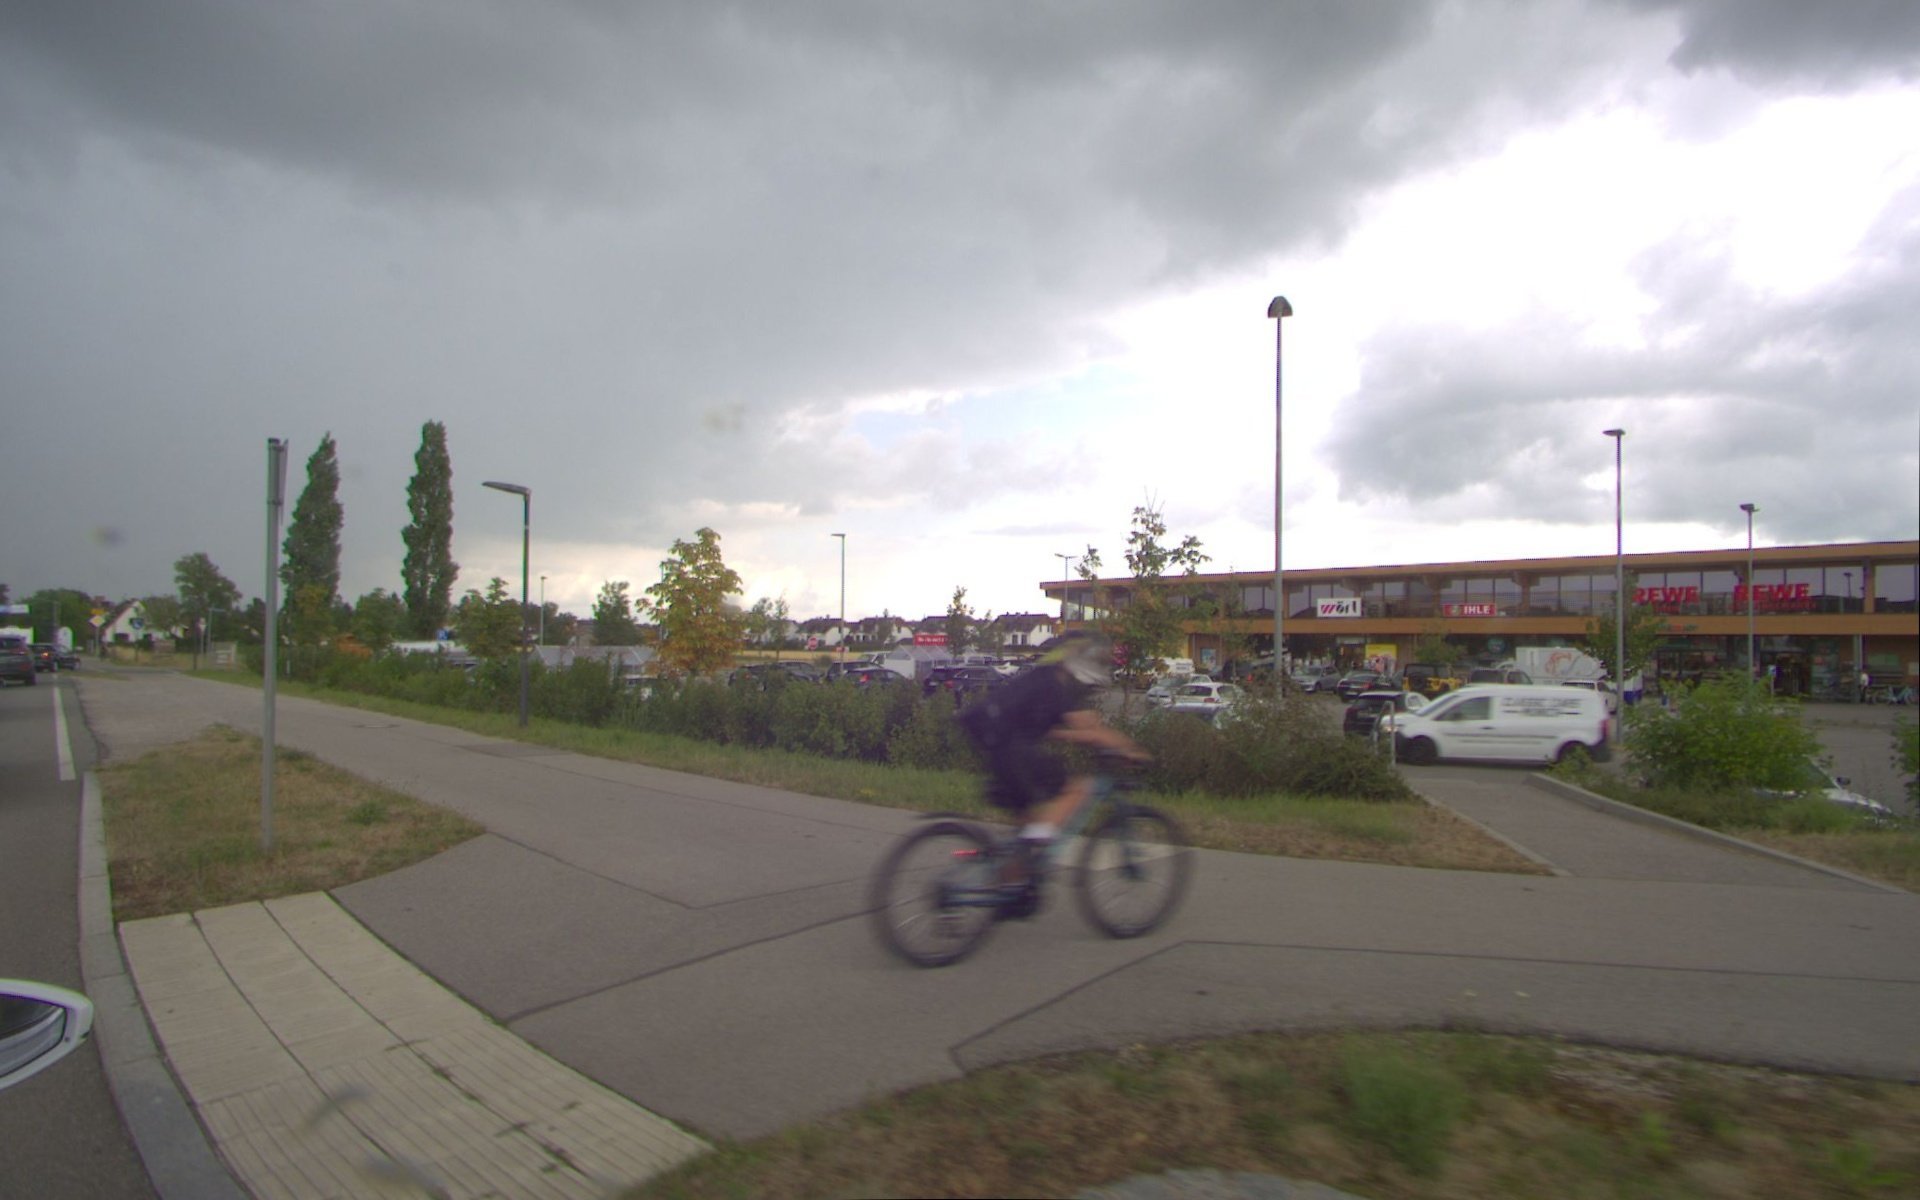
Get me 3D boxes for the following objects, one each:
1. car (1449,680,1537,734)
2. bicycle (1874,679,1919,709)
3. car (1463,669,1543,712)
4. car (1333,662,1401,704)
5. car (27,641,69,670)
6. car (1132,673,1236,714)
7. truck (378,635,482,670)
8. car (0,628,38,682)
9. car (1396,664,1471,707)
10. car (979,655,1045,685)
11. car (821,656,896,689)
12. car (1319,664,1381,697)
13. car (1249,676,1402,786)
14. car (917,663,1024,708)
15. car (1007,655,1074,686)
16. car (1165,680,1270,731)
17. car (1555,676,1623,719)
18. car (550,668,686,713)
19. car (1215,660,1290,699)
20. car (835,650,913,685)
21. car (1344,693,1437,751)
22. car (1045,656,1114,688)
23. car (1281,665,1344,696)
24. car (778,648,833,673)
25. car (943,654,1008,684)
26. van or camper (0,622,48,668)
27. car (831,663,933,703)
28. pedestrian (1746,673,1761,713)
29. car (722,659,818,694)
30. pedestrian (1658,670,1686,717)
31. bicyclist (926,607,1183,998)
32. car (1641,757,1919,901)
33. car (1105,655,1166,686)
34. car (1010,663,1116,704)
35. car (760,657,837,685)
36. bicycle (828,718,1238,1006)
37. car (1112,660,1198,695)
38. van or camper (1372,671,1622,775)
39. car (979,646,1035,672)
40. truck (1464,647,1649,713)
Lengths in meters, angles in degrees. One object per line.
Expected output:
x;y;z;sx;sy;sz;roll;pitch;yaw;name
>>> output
17.667;3.480;33.134;1.712;1.572;3.969;-1;-3;42;car
44.177;4.366;46.246;0.970;1.325;2.842;3;-3;-44;bicycle
23.315;3.843;42.941;4.083;1.745;1.835;4;-5;-44;car
19.411;3.911;47.690;1.753;1.877;3.968;-2;-4;42;car
-45.050;2.728;49.515;1.429;1.389;3.482;3;-4;-42;car
9.290;3.815;41.367;4.743;1.503;1.886;3;-4;-43;car
-29.692;2.968;56.208;1.979;1.895;4.773;-2;-4;43;truck
-30.813;1.754;32.072;1.764;1.638;3.965;3;-4;-41;car
21.596;3.859;45.599;3.962;1.877;1.756;4;-4;-43;car
3.394;4.504;64.660;3.956;1.860;1.985;3;-3;-39;car
-5.667;4.043;55.975;3.962;1.727;1.700;4;-4;-43;car
21.078;4.333;54.004;1.750;1.674;3.860;-2;-4;44;car
4.853;1.708;13.703;1.550;1.221;3.757;1;-5;14;car
0.486;3.495;41.110;4.423;1.727;1.787;4;-4;-43;car
5.083;4.392;62.626;3.958;1.860;1.984;3;-4;-40;car
8.426;3.369;32.591;1.665;1.503;3.964;-2;-4;43;car
25.693;3.933;40.855;1.712;1.549;3.969;-1;-3;41;car
-12.307;3.236;36.197;4.205;1.458;1.982;3;-4;-43;car
15.176;4.123;51.922;3.964;1.859;1.982;7;-6;-43;car
-5.290;4.151;62.169;1.974;2.039;5.093;0;-2;37;car
12.108;3.380;28.015;1.810;1.414;3.985;0;-5;32;car
7.218;4.337;60.440;3.956;1.860;1.984;3;-3;-39;car
19.560;4.426;55.534;1.749;1.632;4.190;-2;-4;44;car
-12.723;4.973;82.345;3.958;1.859;1.985;6;-5;-39;car
1.050;4.571;66.562;3.957;1.860;1.984;3;-3;-40;car
-71.298;3.472;76.226;2.608;3.364;6.760;3;-4;-43;van or camper
-3.520;3.727;45.680;4.375;1.685;1.982;3;-3;-43;car
39.801;4.635;50.212;0.573;1.973;0.520;2;-2;-44;pedestrian
-9.782;3.921;51.779;4.527;1.685;1.982;3;-3;-43;car
31.364;4.106;44.109;0.921;2.039;0.799;-1;-2;41;pedestrian
0.376;0.771;4.251;0.854;1.465;0.723;0;-1;-21;bicyclist
11.565;3.152;14.375;1.551;1.389;3.734;0;-3;10;car
11.315;4.535;64.435;4.078;1.917;1.780;4;-4;-44;car
4.678;3.693;44.914;4.942;1.685;1.981;3;-3;-43;car
-9.682;4.245;60.306;4.282;1.597;1.752;3;-3;-41;car
0.324;1.037;4.254;1.685;0.958;0.496;0;-1;-21;bicycle
10.859;4.265;55.560;5.252;1.853;1.982;4;-5;-43;car
12.043;2.743;22.829;4.718;2.123;1.765;0;-5;16;van or camper
3.474;4.339;73.806;3.956;1.863;1.860;3;-3;-39;car
28.416;3.713;47.924;7.180;2.842;2.952;-2;-3;43;truck
